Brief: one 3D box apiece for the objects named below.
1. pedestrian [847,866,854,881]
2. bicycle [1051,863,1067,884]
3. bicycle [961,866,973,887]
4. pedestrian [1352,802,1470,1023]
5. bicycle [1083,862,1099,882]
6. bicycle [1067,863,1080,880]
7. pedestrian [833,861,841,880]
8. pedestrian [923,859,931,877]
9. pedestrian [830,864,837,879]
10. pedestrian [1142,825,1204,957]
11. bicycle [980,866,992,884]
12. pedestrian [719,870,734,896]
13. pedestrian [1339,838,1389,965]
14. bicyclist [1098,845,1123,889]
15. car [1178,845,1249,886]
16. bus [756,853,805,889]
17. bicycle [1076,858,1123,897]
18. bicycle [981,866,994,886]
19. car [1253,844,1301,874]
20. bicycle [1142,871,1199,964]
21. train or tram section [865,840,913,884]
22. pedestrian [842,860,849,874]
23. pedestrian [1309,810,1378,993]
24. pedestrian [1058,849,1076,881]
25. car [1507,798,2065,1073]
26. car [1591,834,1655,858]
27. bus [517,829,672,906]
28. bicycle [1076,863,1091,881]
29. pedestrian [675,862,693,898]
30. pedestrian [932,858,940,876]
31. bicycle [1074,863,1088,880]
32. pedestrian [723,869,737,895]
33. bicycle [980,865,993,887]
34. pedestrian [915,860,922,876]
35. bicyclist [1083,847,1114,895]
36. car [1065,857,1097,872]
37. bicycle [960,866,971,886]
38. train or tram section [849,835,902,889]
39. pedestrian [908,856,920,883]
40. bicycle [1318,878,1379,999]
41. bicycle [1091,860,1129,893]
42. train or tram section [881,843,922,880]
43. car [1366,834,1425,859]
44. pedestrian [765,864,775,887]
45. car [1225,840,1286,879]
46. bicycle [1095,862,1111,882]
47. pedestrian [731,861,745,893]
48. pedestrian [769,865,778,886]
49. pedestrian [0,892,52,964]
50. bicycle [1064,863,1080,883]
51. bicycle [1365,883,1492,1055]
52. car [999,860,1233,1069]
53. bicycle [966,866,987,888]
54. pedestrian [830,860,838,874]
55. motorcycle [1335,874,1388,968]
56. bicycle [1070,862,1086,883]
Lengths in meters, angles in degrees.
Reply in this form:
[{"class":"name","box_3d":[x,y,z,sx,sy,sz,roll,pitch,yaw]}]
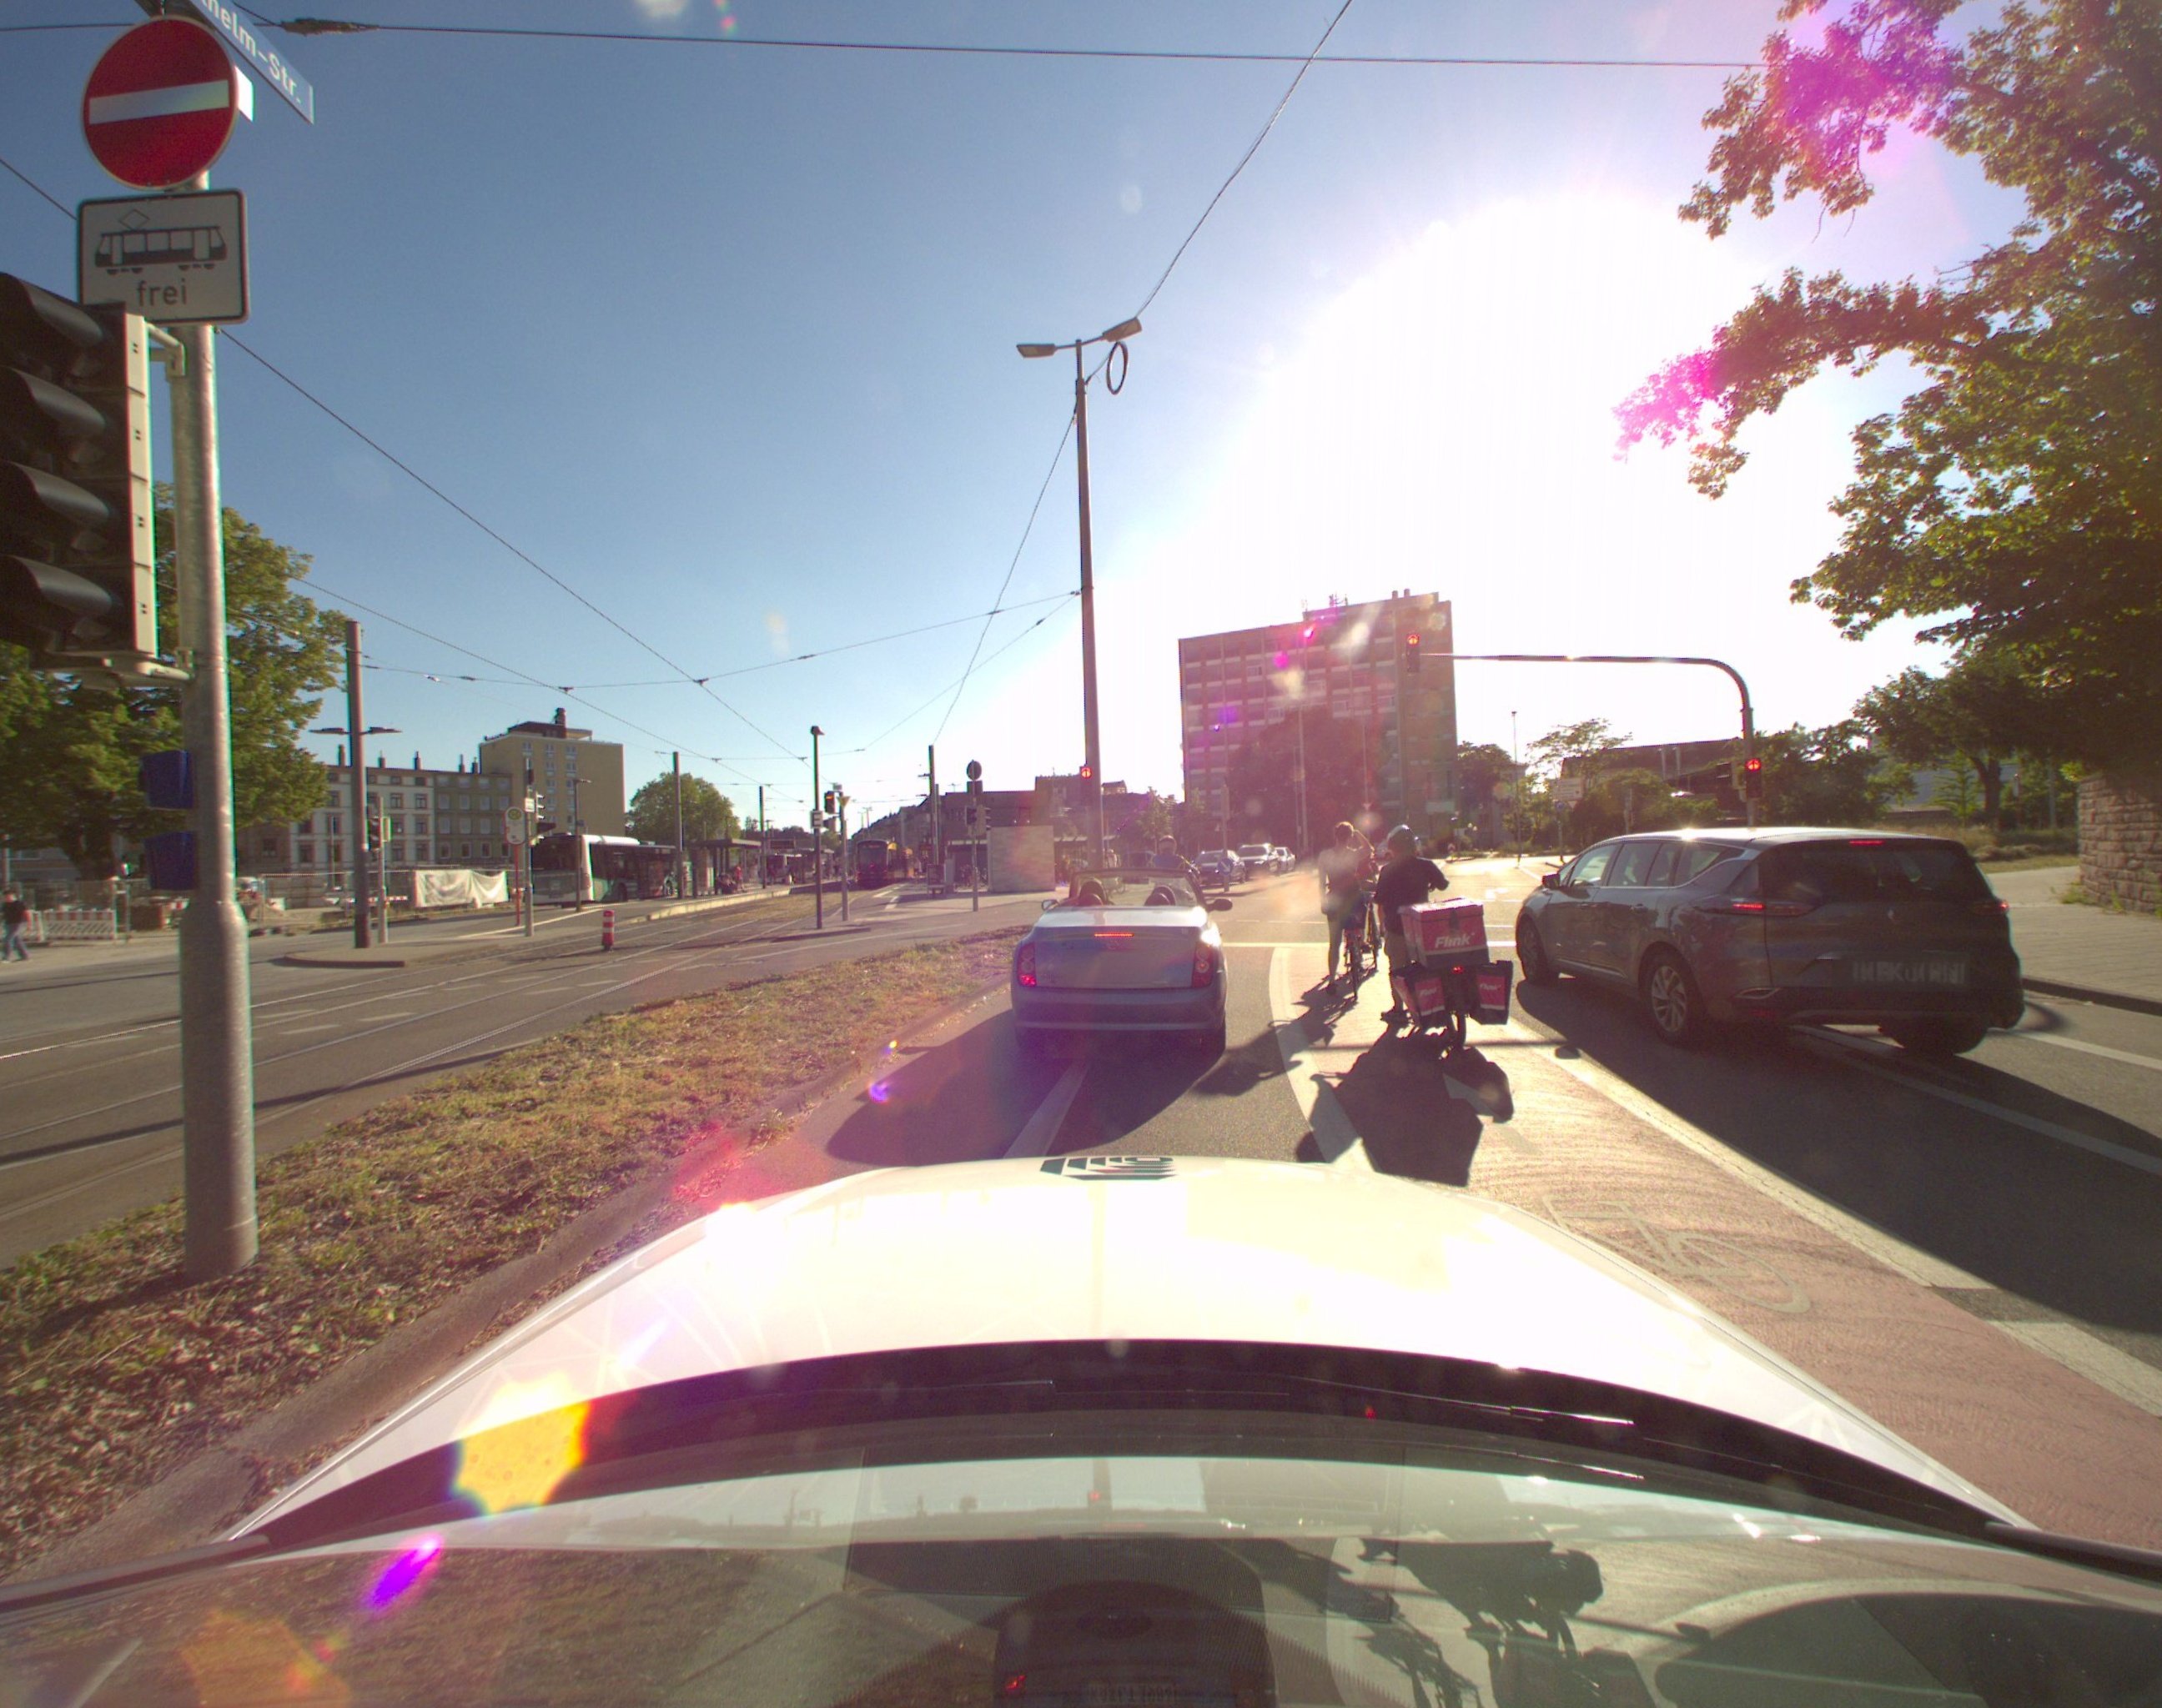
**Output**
[{"class":"pedestrian","box_3d":[-29.292,2.472,103.461,0.732,1.749,0.638,-2,-1,-6]},{"class":"bicycle","box_3d":[-1.254,1.081,45.295,0.607,1.115,1.890,0,-1,-10]},{"class":"bicycle","box_3d":[-6.213,1.232,44.359,0.607,1.115,1.890,0,-1,-10]},{"class":"pedestrian","box_3d":[2.978,0.503,7.447,0.801,1.869,0.959,-1,-1,10]},{"class":"bicycle","box_3d":[0.557,1.055,47.714,0.607,1.115,1.890,0,-1,-10]},{"class":"bicycle","box_3d":[-0.558,1.205,56.911,0.607,1.115,1.890,0,-1,-10]},{"class":"pedestrian","box_3d":[-22.914,1.581,76.424,0.641,1.749,0.567,-2,-1,-25]},{"class":"pedestrian","box_3d":[-15.066,1.334,79.567,0.639,1.749,0.732,-2,-1,-17]},{"class":"pedestrian","box_3d":[-30.290,2.134,99.688,0.732,1.749,0.638,-2,-1,-6]},{"class":"pedestrian","box_3d":[1.370,0.527,12.057,0.828,1.869,0.923,-1,-1,10]},{"class":"bicycle","box_3d":[-5.902,1.287,50.624,0.607,1.115,1.890,0,-1,-10]},{"class":"pedestrian","box_3d":[-18.603,1.521,42.776,0.617,1.340,0.438,-2,-1,-15]},{"class":"pedestrian","box_3d":[3.771,0.606,10.845,0.583,1.598,1.030,-1,-1,19]},{"class":"bicyclist","box_3d":[1.147,0.490,31.602,0.702,1.657,0.747,-3,-1,24]},{"class":"car","box_3d":[5.547,0.469,33.643,1.720,1.574,3.948,-1,-1,28]},{"class":"bus","box_3d":[-29.669,1.588,80.947,2.723,3.274,13.409,0,-1,-12]},{"class":"bicycle","box_3d":[0.675,0.811,28.969,0.668,1.250,2.471,-5,-1,24]},{"class":"bicycle","box_3d":[-5.374,1.225,46.735,0.607,1.115,1.890,0,-1,-10]},{"class":"car","box_3d":[11.166,0.251,46.217,1.678,1.560,4.004,-3,0,28]},{"class":"bicycle","box_3d":[1.358,0.866,11.987,0.604,1.191,2.422,-1,-1,12]},{"class":"train or tram section","box_3d":[-17.067,0.706,73.257,3.010,3.597,12.165,0,-1,-8]},{"class":"pedestrian","box_3d":[-28.886,1.578,100.075,0.735,1.749,0.637,-2,-1,-14]},{"class":"pedestrian","box_3d":[2.836,0.490,8.839,0.654,1.869,0.876,-1,-1,17]},{"class":"pedestrian","box_3d":[-0.818,0.632,46.935,0.901,1.869,0.684,0,-1,-11]},{"class":"car","box_3d":[5.541,0.522,7.320,1.820,1.689,4.381,-1,-1,10]},{"class":"car","box_3d":[48.267,-0.682,72.576,4.645,1.945,1.927,-3,-1,35]},{"class":"bus","box_3d":[-22.371,0.574,38.222,2.652,3.135,9.617,0,-1,-8]},{"class":"bicycle","box_3d":[0.130,1.137,51.414,0.607,1.115,1.890,0,-1,-10]},{"class":"pedestrian","box_3d":[-19.621,1.273,40.263,0.536,1.749,0.559,-2,-1,-4]},{"class":"pedestrian","box_3d":[-14.318,1.301,80.146,0.639,1.749,0.732,-2,-1,-17]},{"class":"bicycle","box_3d":[-0.031,1.132,53.391,0.607,1.115,1.890,0,-1,-10]},{"class":"pedestrian","box_3d":[-18.732,1.475,43.462,0.571,1.346,0.636,-2,-1,-15]},{"class":"bicycle","box_3d":[-5.177,1.193,44.665,0.607,1.115,1.890,0,-1,-10]},{"class":"pedestrian","box_3d":[-18.073,1.531,90.535,0.604,1.749,0.830,-2,-1,-6]},{"class":"bicyclist","box_3d":[0.628,0.596,28.904,0.702,1.657,0.906,-5,-2,24]},{"class":"car","box_3d":[-0.031,1.177,88.864,1.653,1.560,3.559,-2,0,-37]},{"class":"bicycle","box_3d":[-6.560,1.251,46.293,0.606,1.115,1.891,0,-1,-8]},{"class":"train or tram section","box_3d":[-15.262,0.583,61.215,2.881,3.597,12.158,0,-1,-10]},{"class":"pedestrian","box_3d":[-10.883,1.019,53.049,0.639,1.749,0.569,-2,-1,-17]},{"class":"bicycle","box_3d":[2.934,0.861,9.022,0.559,1.151,1.958,-1,-1,17]},{"class":"bicycle","box_3d":[1.154,0.847,31.573,0.668,1.180,2.195,-3,0,24]},{"class":"train or tram section","box_3d":[-18.602,0.814,85.228,3.037,3.597,12.021,0,0,-7]},{"class":"car","box_3d":[27.504,-0.654,71.265,4.706,1.945,1.902,-2,0,-20]},{"class":"pedestrian","box_3d":[-24.594,1.709,64.409,0.641,1.749,0.567,-2,-1,-25]},{"class":"car","box_3d":[8.558,0.243,39.669,1.745,1.706,4.557,-4,-1,26]},{"class":"bicycle","box_3d":[1.238,1.006,45.680,0.606,1.115,1.892,0,-1,-7]},{"class":"pedestrian","box_3d":[-19.111,1.276,45.338,0.571,1.749,0.636,-2,-1,-15]},{"class":"pedestrian","box_3d":[-25.463,1.797,67.462,0.571,1.749,0.636,-2,-1,-17]},{"class":"pedestrian","box_3d":[-26.239,1.828,20.084,0.712,1.697,0.893,-3,-2,-25]},{"class":"bicycle","box_3d":[-0.542,1.093,47.352,0.607,1.115,1.890,0,-1,-10]},{"class":"bicycle","box_3d":[2.935,0.873,7.094,0.550,1.171,2.380,-1,-1,12]},{"class":"car","box_3d":[0.549,0.783,7.796,1.650,1.441,4.164,-1,-1,9]},{"class":"bicycle","box_3d":[-5.467,1.203,42.735,0.603,1.115,1.901,-1,-1,8]},{"class":"pedestrian","box_3d":[-30.583,1.596,100.761,0.732,1.749,0.638,-2,-1,-6]},{"class":"motorcycle","box_3d":[3.827,0.844,11.105,0.608,1.097,2.371,-1,-1,19]},{"class":"bicycle","box_3d":[-0.179,1.015,45.411,0.607,1.115,1.890,0,-1,-10]}]
